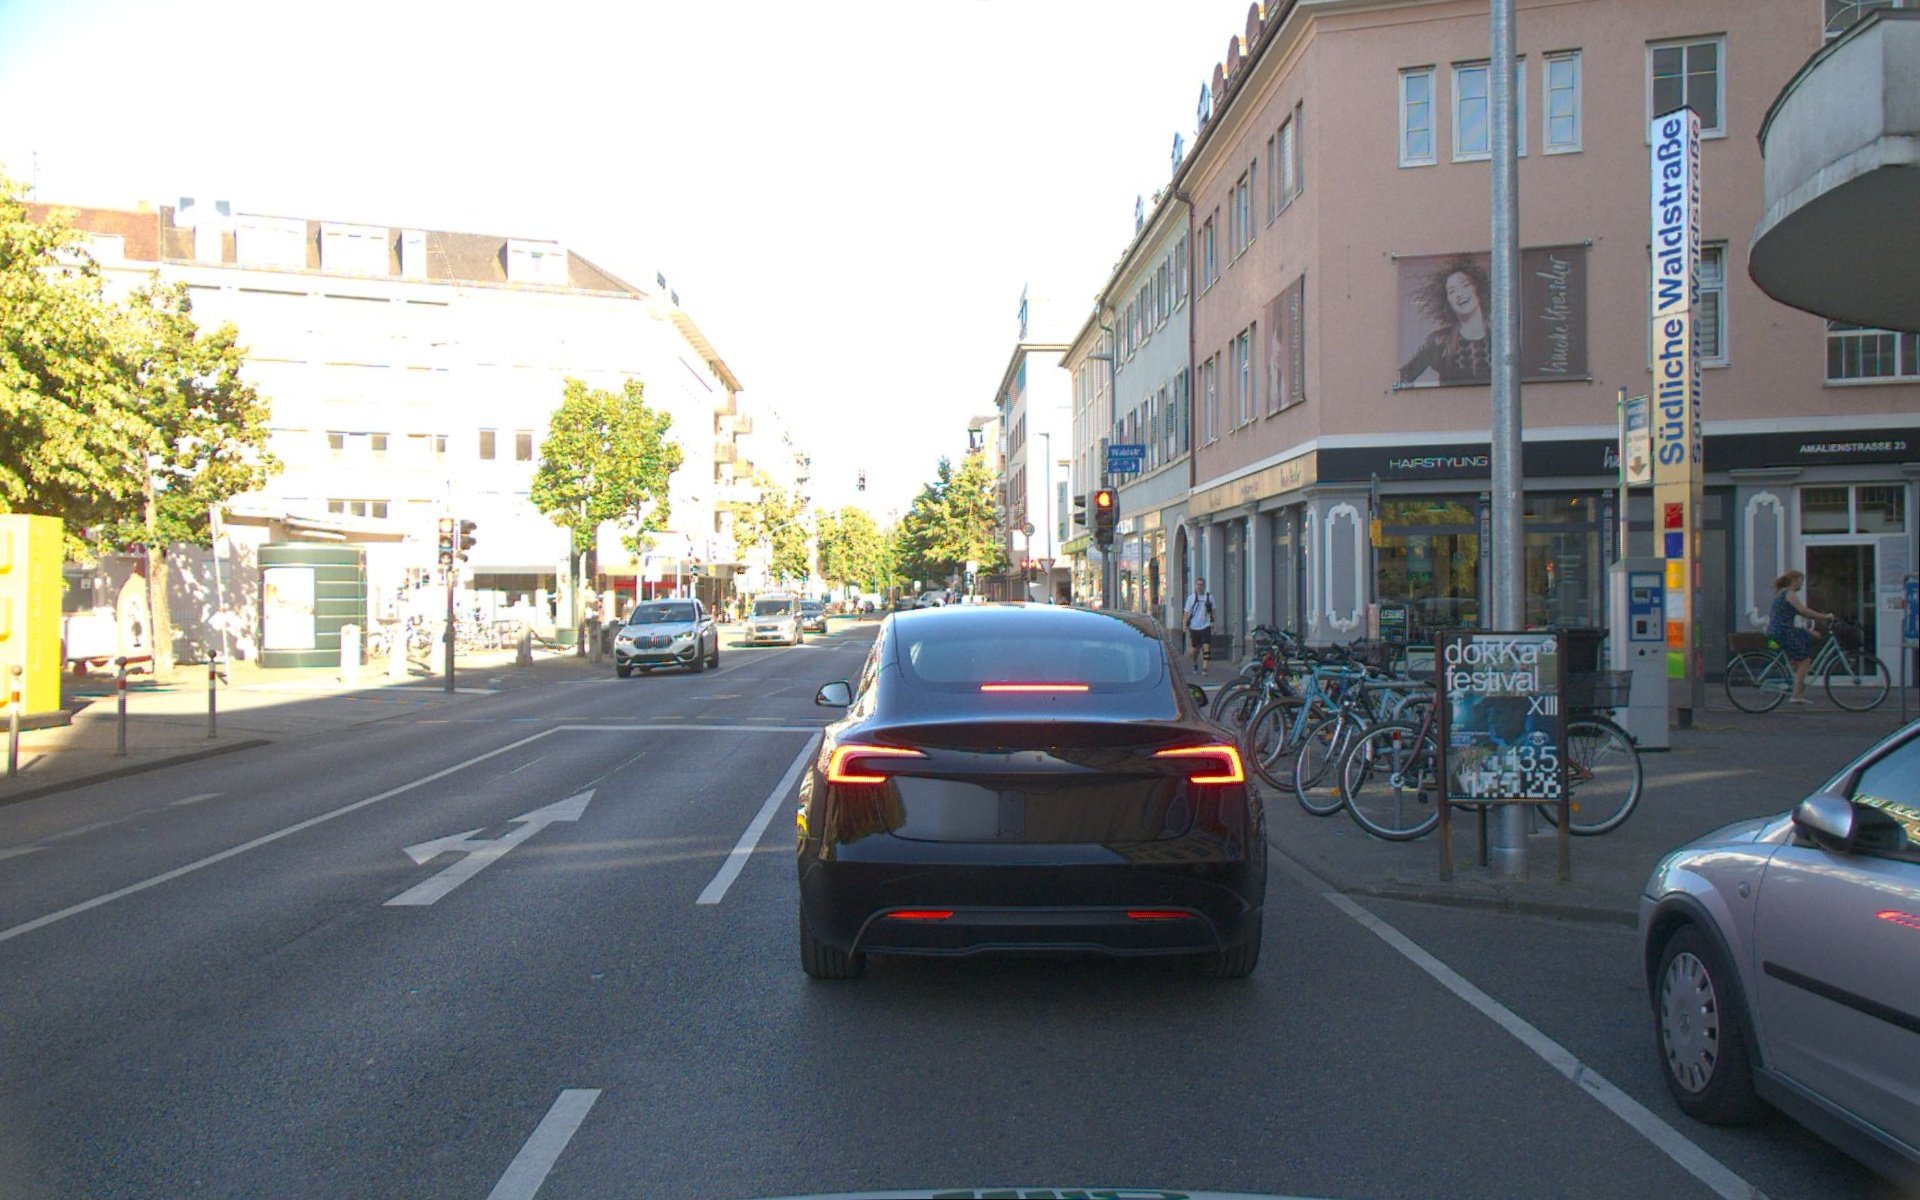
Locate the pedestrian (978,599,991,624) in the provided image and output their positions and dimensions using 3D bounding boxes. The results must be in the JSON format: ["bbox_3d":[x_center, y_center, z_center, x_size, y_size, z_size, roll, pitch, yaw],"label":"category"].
[{"bbox_3d":[1.411,0.647,95.183,0.516,1.447,0.474,1,-1,-31],"label":"pedestrian"}]

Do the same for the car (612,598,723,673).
[{"bbox_3d":[-6.312,0.742,36.053,1.752,1.485,3.756,-2,0,-1],"label":"car"}]

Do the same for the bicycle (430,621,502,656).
[{"bbox_3d":[-14.040,1.086,47.040,1.826,0.950,0.606,1,0,-2],"label":"bicycle"}]

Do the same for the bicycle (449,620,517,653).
[{"bbox_3d":[-14.277,1.077,49.510,1.826,0.950,0.606,1,0,-2],"label":"bicycle"}]

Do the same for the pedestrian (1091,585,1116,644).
[{"bbox_3d":[4.321,0.441,49.713,0.692,1.773,0.540,0,0,-1],"label":"pedestrian"}]

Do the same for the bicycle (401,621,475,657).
[{"bbox_3d":[-14.191,1.052,44.985,1.826,0.950,0.606,0,0,-2],"label":"bicycle"}]

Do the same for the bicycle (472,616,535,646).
[{"bbox_3d":[-14.330,0.972,51.961,1.826,0.950,0.606,0,0,-2],"label":"bicycle"}]

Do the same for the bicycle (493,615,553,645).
[{"bbox_3d":[-14.366,0.982,54.409,1.826,0.950,0.606,0,0,-2],"label":"bicycle"}]

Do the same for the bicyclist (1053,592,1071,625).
[{"bbox_3d":[4.403,0.355,71.250,0.659,1.420,0.460,1,-1,-17],"label":"bicyclist"}]

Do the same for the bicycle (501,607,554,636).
[{"bbox_3d":[-20.273,1.023,77.590,2.334,1.318,0.509,1,-1,-27],"label":"bicycle"}]

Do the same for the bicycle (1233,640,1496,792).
[{"bbox_3d":[3.024,0.864,12.470,1.834,1.056,0.533,-2,-1,3],"label":"bicycle"}]

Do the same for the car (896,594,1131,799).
[{"bbox_3d":[0.315,0.687,13.760,1.683,1.450,3.755,0,0,-2],"label":"car"}]

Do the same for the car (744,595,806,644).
[{"bbox_3d":[-6.492,0.665,58.494,1.751,1.675,4.401,0,0,-1],"label":"car"}]

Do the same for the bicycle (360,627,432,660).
[{"bbox_3d":[-14.450,1.111,42.401,1.612,0.806,0.606,1,0,-5],"label":"bicycle"}]

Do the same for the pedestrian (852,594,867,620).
[{"bbox_3d":[-6.666,0.468,109.408,0.708,1.725,0.843,0,0,-28],"label":"pedestrian"}]

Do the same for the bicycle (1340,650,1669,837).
[{"bbox_3d":[3.275,0.865,10.032,1.833,1.056,0.353,-2,-1,6],"label":"bicycle"}]

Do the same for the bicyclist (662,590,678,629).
[{"bbox_3d":[-11.545,0.380,65.900,0.516,1.530,0.472,1,-1,-25],"label":"bicyclist"}]

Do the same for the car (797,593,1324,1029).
[{"bbox_3d":[0.316,0.723,7.599,1.785,1.467,3.999,0,0,-1],"label":"car"}]

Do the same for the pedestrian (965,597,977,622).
[{"bbox_3d":[0.656,0.536,95.809,0.467,1.442,0.516,1,-1,-32],"label":"pedestrian"}]

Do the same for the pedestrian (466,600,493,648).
[{"bbox_3d":[-20.819,1.035,71.676,1.041,2.049,1.049,1,-1,-20],"label":"pedestrian"}]

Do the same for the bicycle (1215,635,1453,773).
[{"bbox_3d":[3.066,0.849,13.670,1.833,1.056,0.548,-2,-1,5],"label":"bicycle"}]

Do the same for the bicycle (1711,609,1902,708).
[{"bbox_3d":[10.015,0.676,19.627,1.892,1.137,0.709,0,-1,12],"label":"bicycle"}]

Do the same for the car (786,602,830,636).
[{"bbox_3d":[-6.825,0.829,74.604,1.680,1.471,3.844,1,0,-1],"label":"car"}]

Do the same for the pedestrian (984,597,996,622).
[{"bbox_3d":[1.729,0.528,95.866,0.516,1.447,0.474,1,-1,-31],"label":"pedestrian"}]

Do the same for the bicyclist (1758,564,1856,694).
[{"bbox_3d":[10.041,0.331,19.628,0.871,1.508,0.702,0,0,12],"label":"bicyclist"}]

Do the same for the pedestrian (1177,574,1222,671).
[{"bbox_3d":[4.529,0.426,31.324,0.735,1.796,0.837,-1,-1,3],"label":"pedestrian"}]

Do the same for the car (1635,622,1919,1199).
[{"bbox_3d":[2.894,0.775,3.504,1.515,1.415,3.476,0,0,0],"label":"car"}]

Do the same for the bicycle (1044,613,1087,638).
[{"bbox_3d":[4.548,1.109,71.290,1.756,1.024,0.469,1,-1,-17],"label":"bicycle"}]

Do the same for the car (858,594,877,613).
[{"bbox_3d":[-10.461,0.370,187.036,1.953,2.049,3.999,1,0,-1],"label":"car"}]

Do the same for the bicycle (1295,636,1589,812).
[{"bbox_3d":[3.243,0.828,11.200,1.834,1.106,0.414,-2,-1,3],"label":"bicycle"}]

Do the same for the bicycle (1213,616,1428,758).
[{"bbox_3d":[3.201,0.767,14.793,1.789,1.189,0.506,-2,-1,5],"label":"bicycle"}]

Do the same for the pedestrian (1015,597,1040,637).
[{"bbox_3d":[2.827,0.716,69.403,0.742,1.660,0.951,1,-1,-18],"label":"pedestrian"}]
